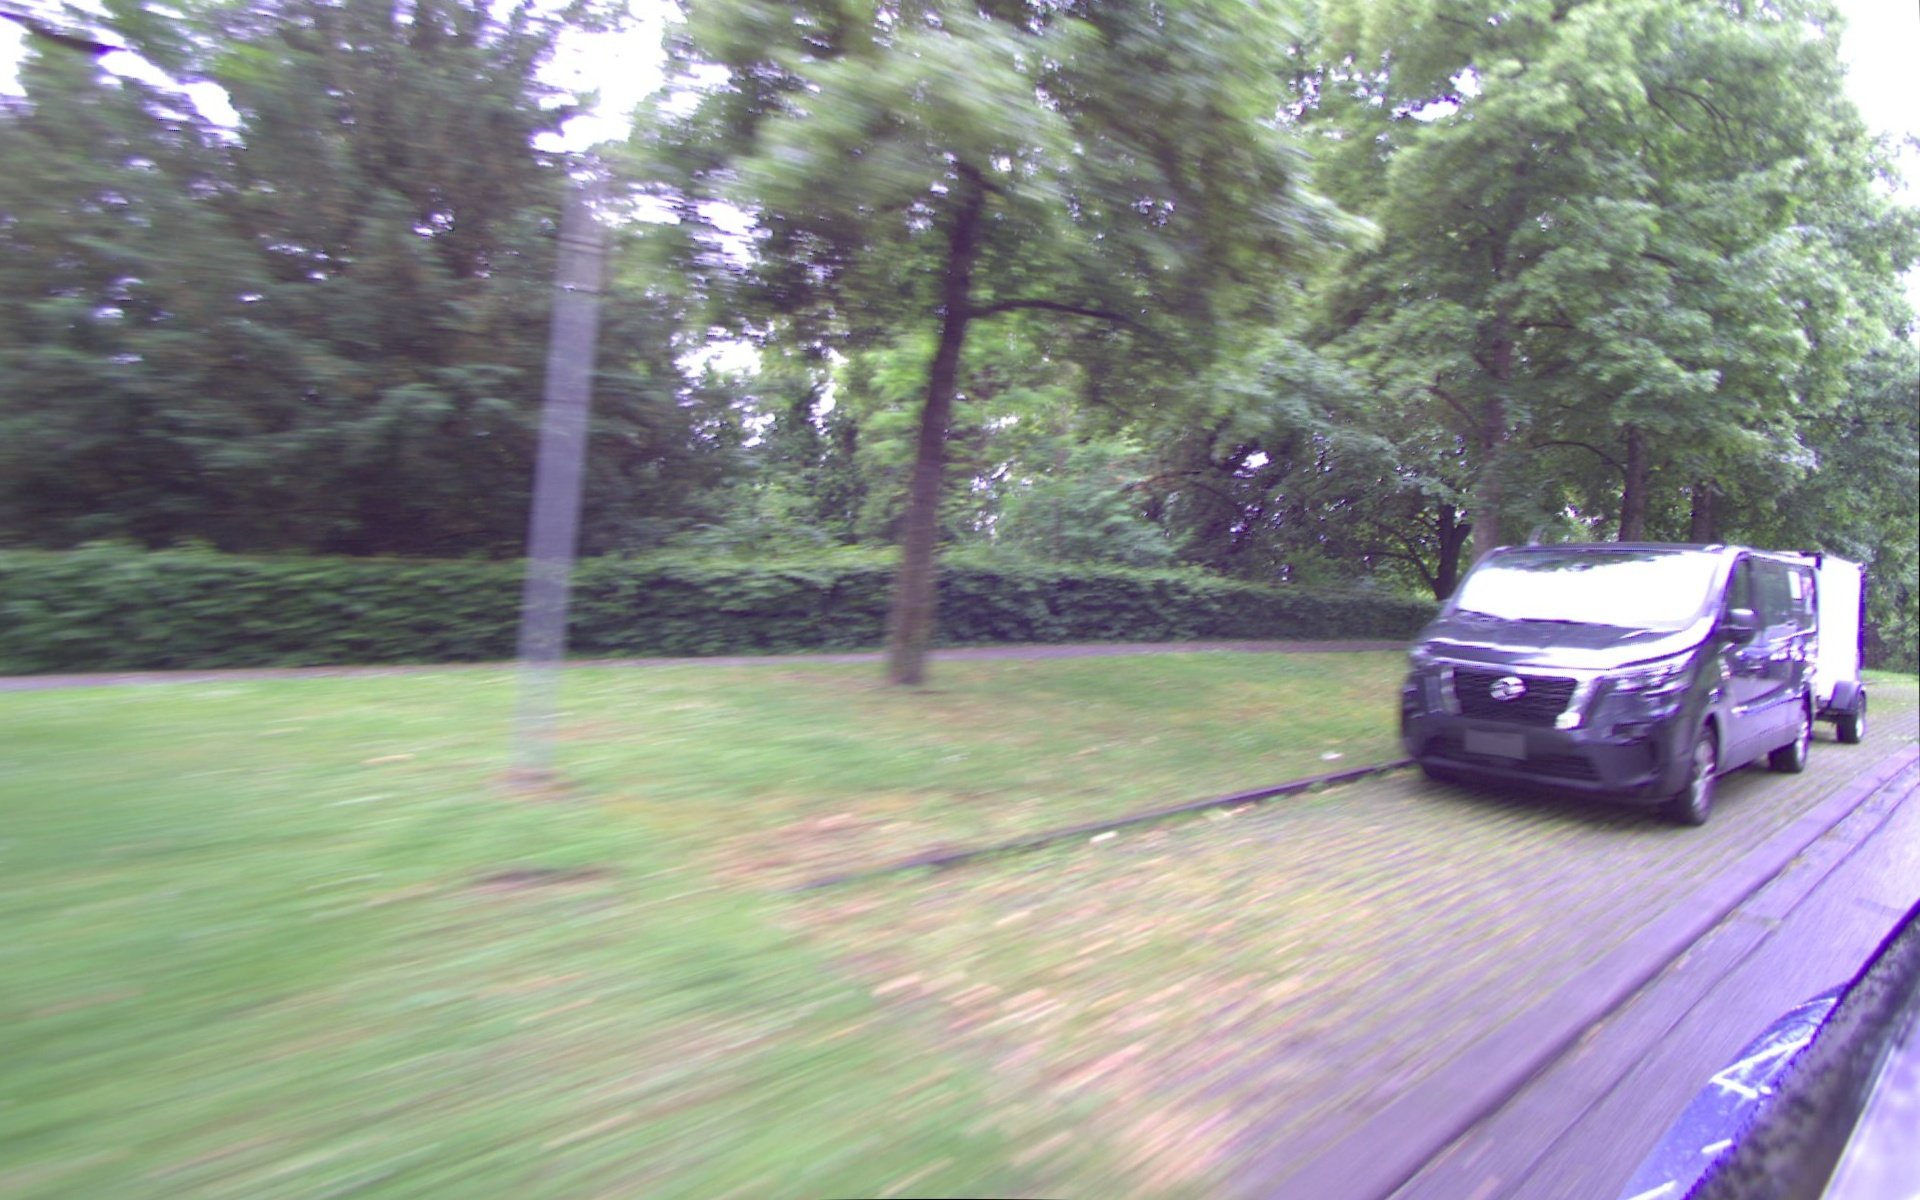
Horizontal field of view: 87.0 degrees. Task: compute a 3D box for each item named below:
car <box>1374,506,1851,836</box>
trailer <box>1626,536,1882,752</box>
[{"bbox_3d":[5.730,0.424,8.498,5.414,1.933,1.997,1,1,-42],"label":"car"},{"bbox_3d":[9.280,0.436,11.716,3.929,2.101,1.533,2,1,-41],"label":"trailer"}]
